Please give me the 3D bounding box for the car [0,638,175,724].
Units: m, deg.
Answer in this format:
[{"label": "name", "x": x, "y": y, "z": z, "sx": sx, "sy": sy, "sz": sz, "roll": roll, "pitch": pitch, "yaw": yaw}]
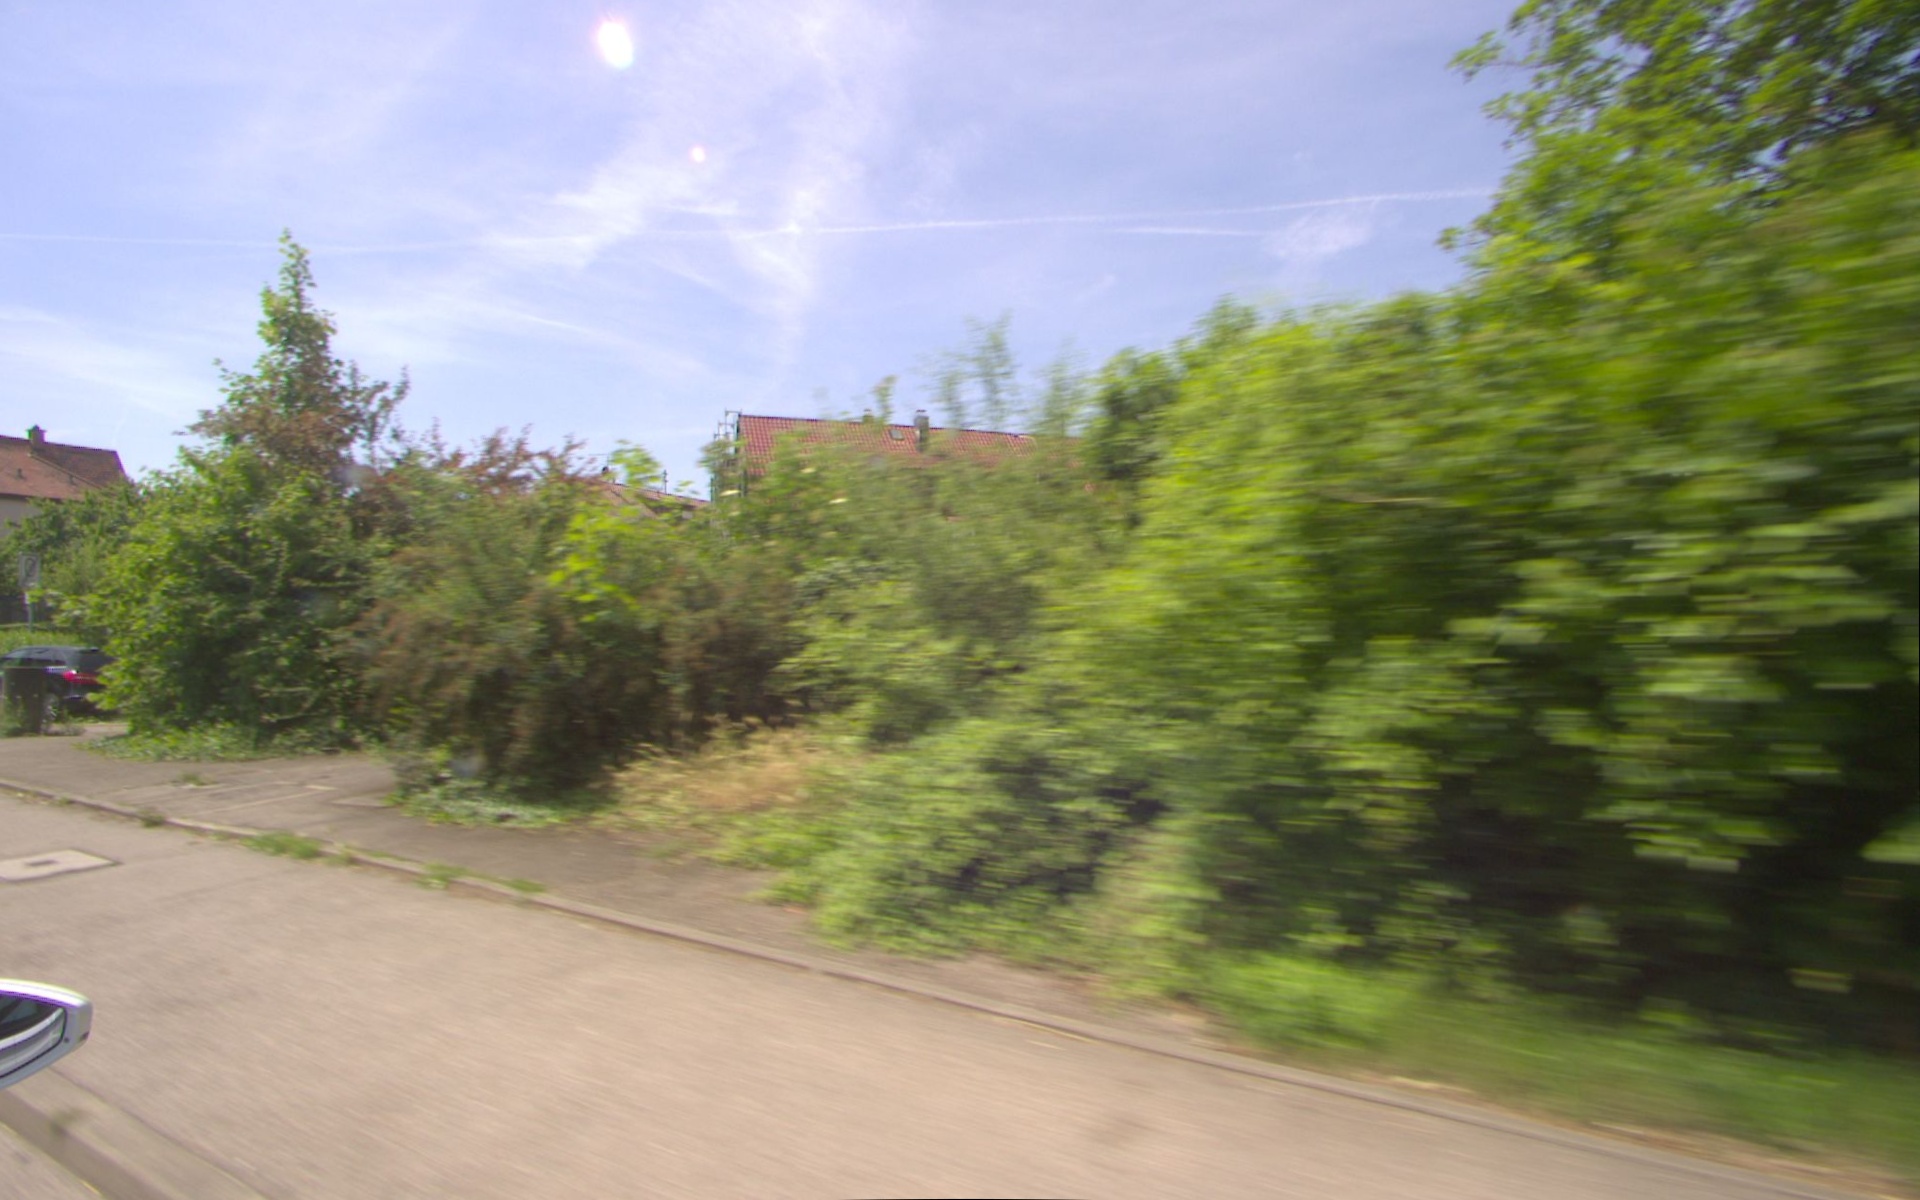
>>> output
[{"label": "car", "x": -17.979, "y": 1.622, "z": 19.989, "sx": 3.994, "sy": 1.570, "sz": 1.714, "roll": -3, "pitch": -3, "yaw": 18}]
